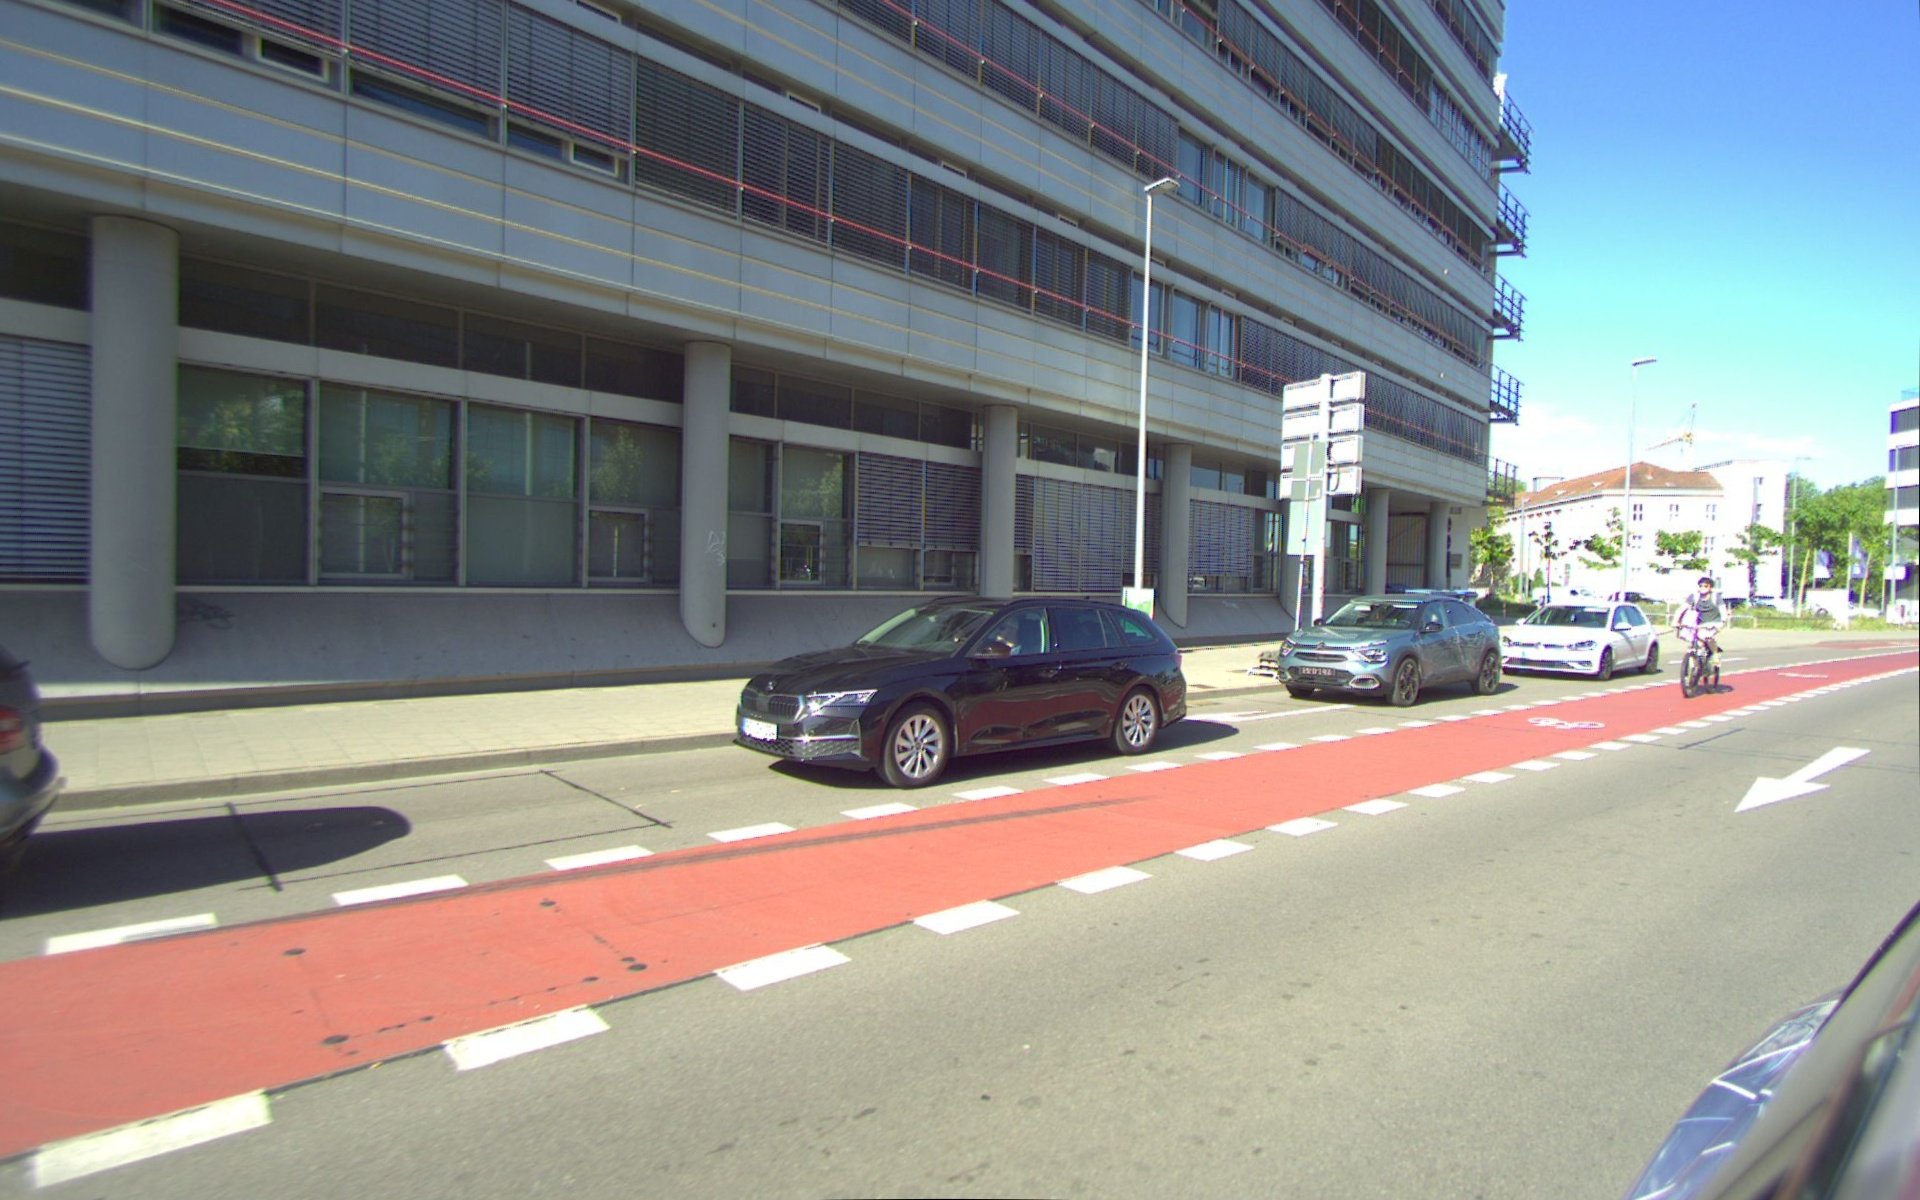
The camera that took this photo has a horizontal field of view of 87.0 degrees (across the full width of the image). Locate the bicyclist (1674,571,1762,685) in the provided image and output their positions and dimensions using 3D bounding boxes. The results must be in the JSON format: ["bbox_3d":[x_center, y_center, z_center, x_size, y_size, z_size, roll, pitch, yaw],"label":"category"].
[{"bbox_3d":[11.818,0.416,15.783,1.031,1.714,0.809,0,0,-35],"label":"bicyclist"}]

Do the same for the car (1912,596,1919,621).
[{"bbox_3d":[64.630,0.634,65.485,1.836,1.575,4.008,1,2,-24],"label":"car"}]

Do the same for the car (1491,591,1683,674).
[{"bbox_3d":[12.042,0.558,19.351,4.215,1.421,1.777,0,0,-38],"label":"car"}]

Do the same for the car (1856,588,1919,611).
[{"bbox_3d":[66.578,-0.030,71.517,1.803,1.448,4.493,-1,3,-25],"label":"car"}]

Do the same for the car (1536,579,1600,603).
[{"bbox_3d":[54.187,-0.808,90.268,1.835,2.006,4.666,1,2,-21],"label":"car"}]

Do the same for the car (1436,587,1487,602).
[{"bbox_3d":[50.430,-0.543,101.879,1.835,1.286,4.666,1,2,-20],"label":"car"}]

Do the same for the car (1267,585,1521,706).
[{"bbox_3d":[6.521,0.568,14.979,4.321,1.543,1.725,0,1,-40],"label":"car"}]

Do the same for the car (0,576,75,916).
[{"bbox_3d":[-6.256,0.605,3.535,4.703,1.413,1.725,0,2,-40],"label":"car"}]

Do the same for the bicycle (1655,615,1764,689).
[{"bbox_3d":[11.715,0.782,15.803,1.855,1.050,0.828,0,0,-35],"label":"bicycle"}]

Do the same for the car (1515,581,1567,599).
[{"bbox_3d":[55.436,-0.965,96.634,1.835,1.575,4.010,1,2,-20],"label":"car"}]

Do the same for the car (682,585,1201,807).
[{"bbox_3d":[0.054,0.628,8.940,4.557,1.440,1.724,0,2,-42],"label":"car"}]
